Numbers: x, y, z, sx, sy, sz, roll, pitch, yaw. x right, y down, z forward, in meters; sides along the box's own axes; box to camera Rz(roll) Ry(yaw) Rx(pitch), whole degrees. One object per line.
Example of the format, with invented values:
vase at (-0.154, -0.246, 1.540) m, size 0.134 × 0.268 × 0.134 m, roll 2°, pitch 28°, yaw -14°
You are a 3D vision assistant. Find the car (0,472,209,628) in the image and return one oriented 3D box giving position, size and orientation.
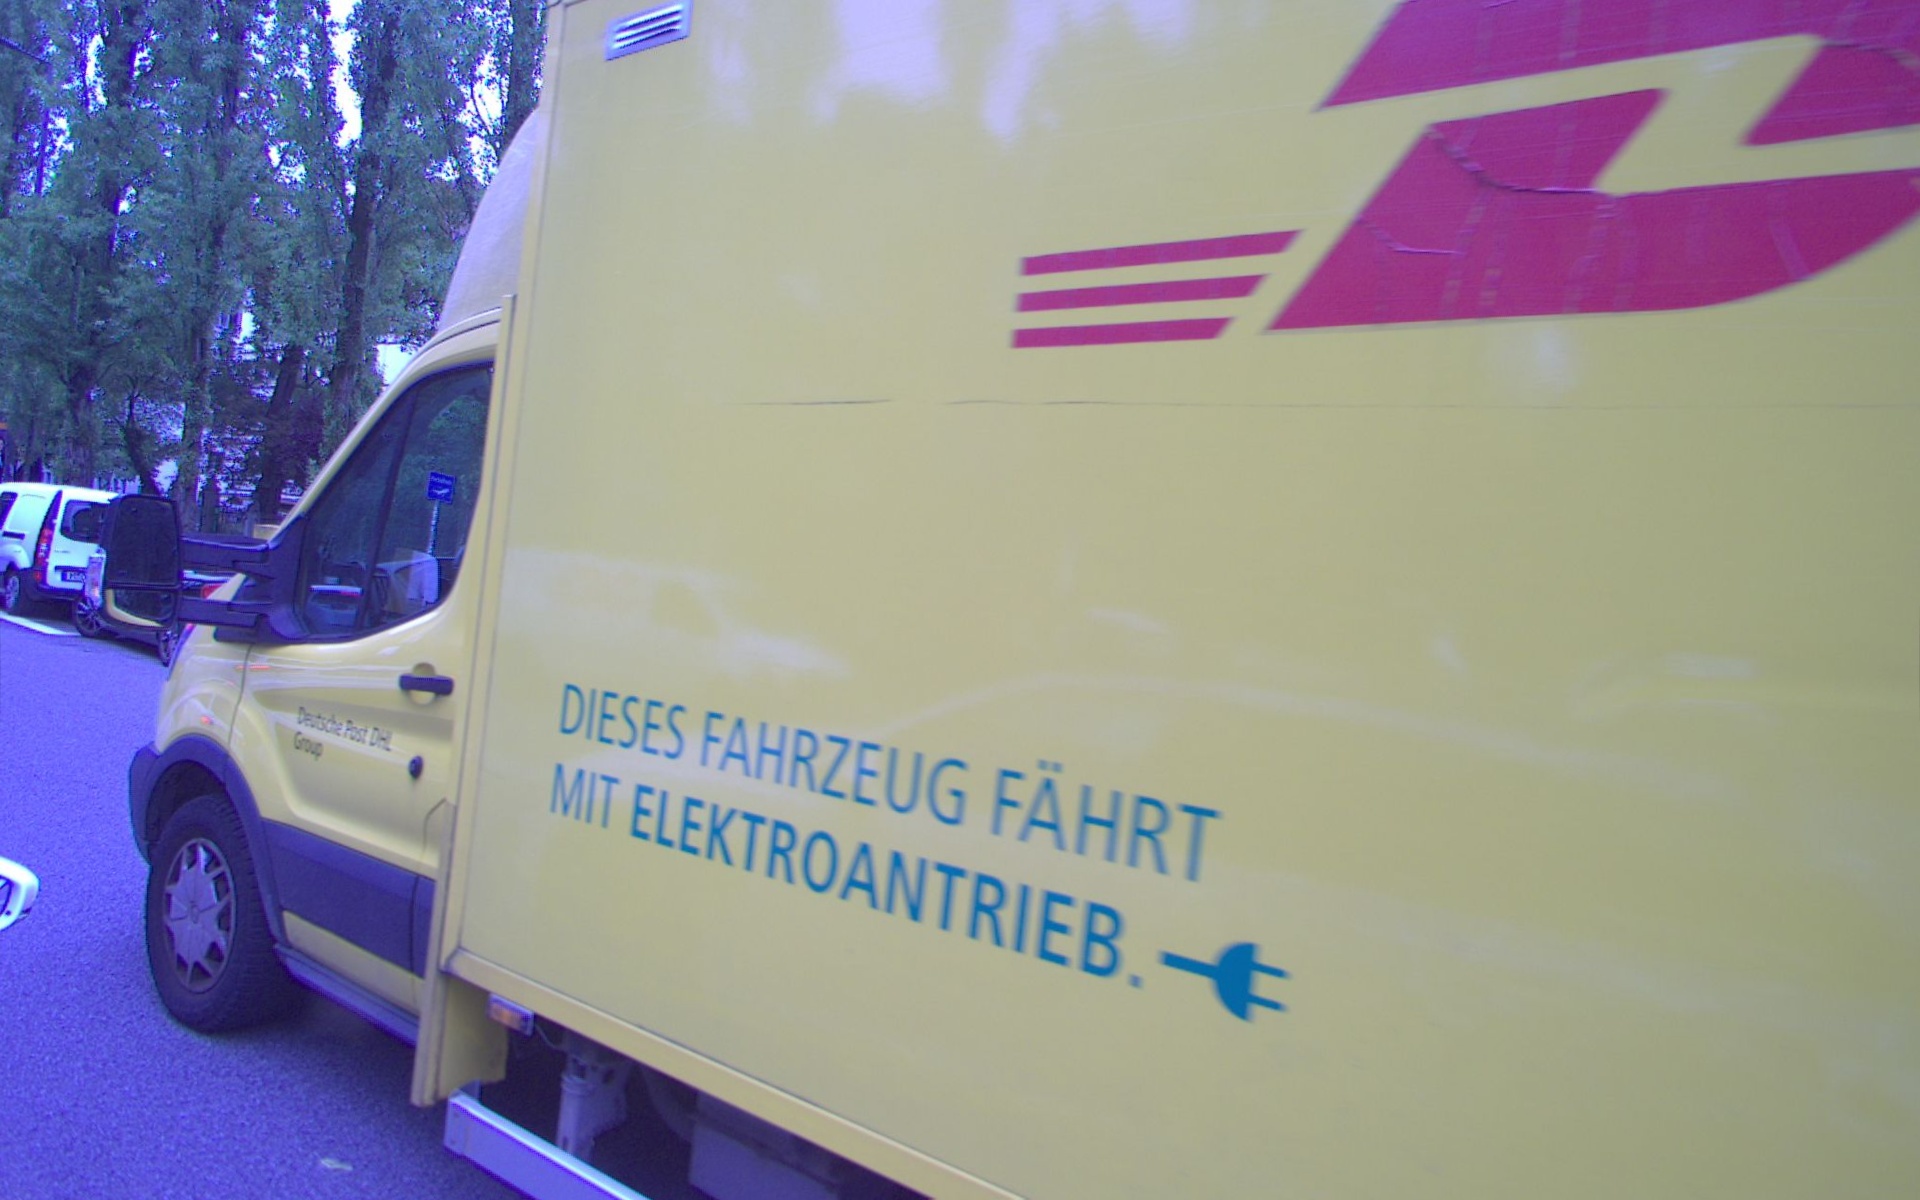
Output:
car at (-13.005, -0.787, 14.561) m, size 4.160 × 1.793 × 1.837 m, roll 6°, pitch -2°, yaw 31°

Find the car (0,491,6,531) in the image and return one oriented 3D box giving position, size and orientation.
car at (-19.041, -1.395, 18.092) m, size 4.020 × 1.614 × 1.680 m, roll 7°, pitch -2°, yaw 33°

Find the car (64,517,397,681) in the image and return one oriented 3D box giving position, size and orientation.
car at (-8.430, -0.044, 11.541) m, size 3.936 × 1.370 × 1.748 m, roll 7°, pitch -1°, yaw 34°

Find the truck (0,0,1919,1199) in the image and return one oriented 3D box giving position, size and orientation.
truck at (0.413, 0.086, 2.658) m, size 7.210 × 2.933 × 2.331 m, roll 6°, pitch 0°, yaw 31°
